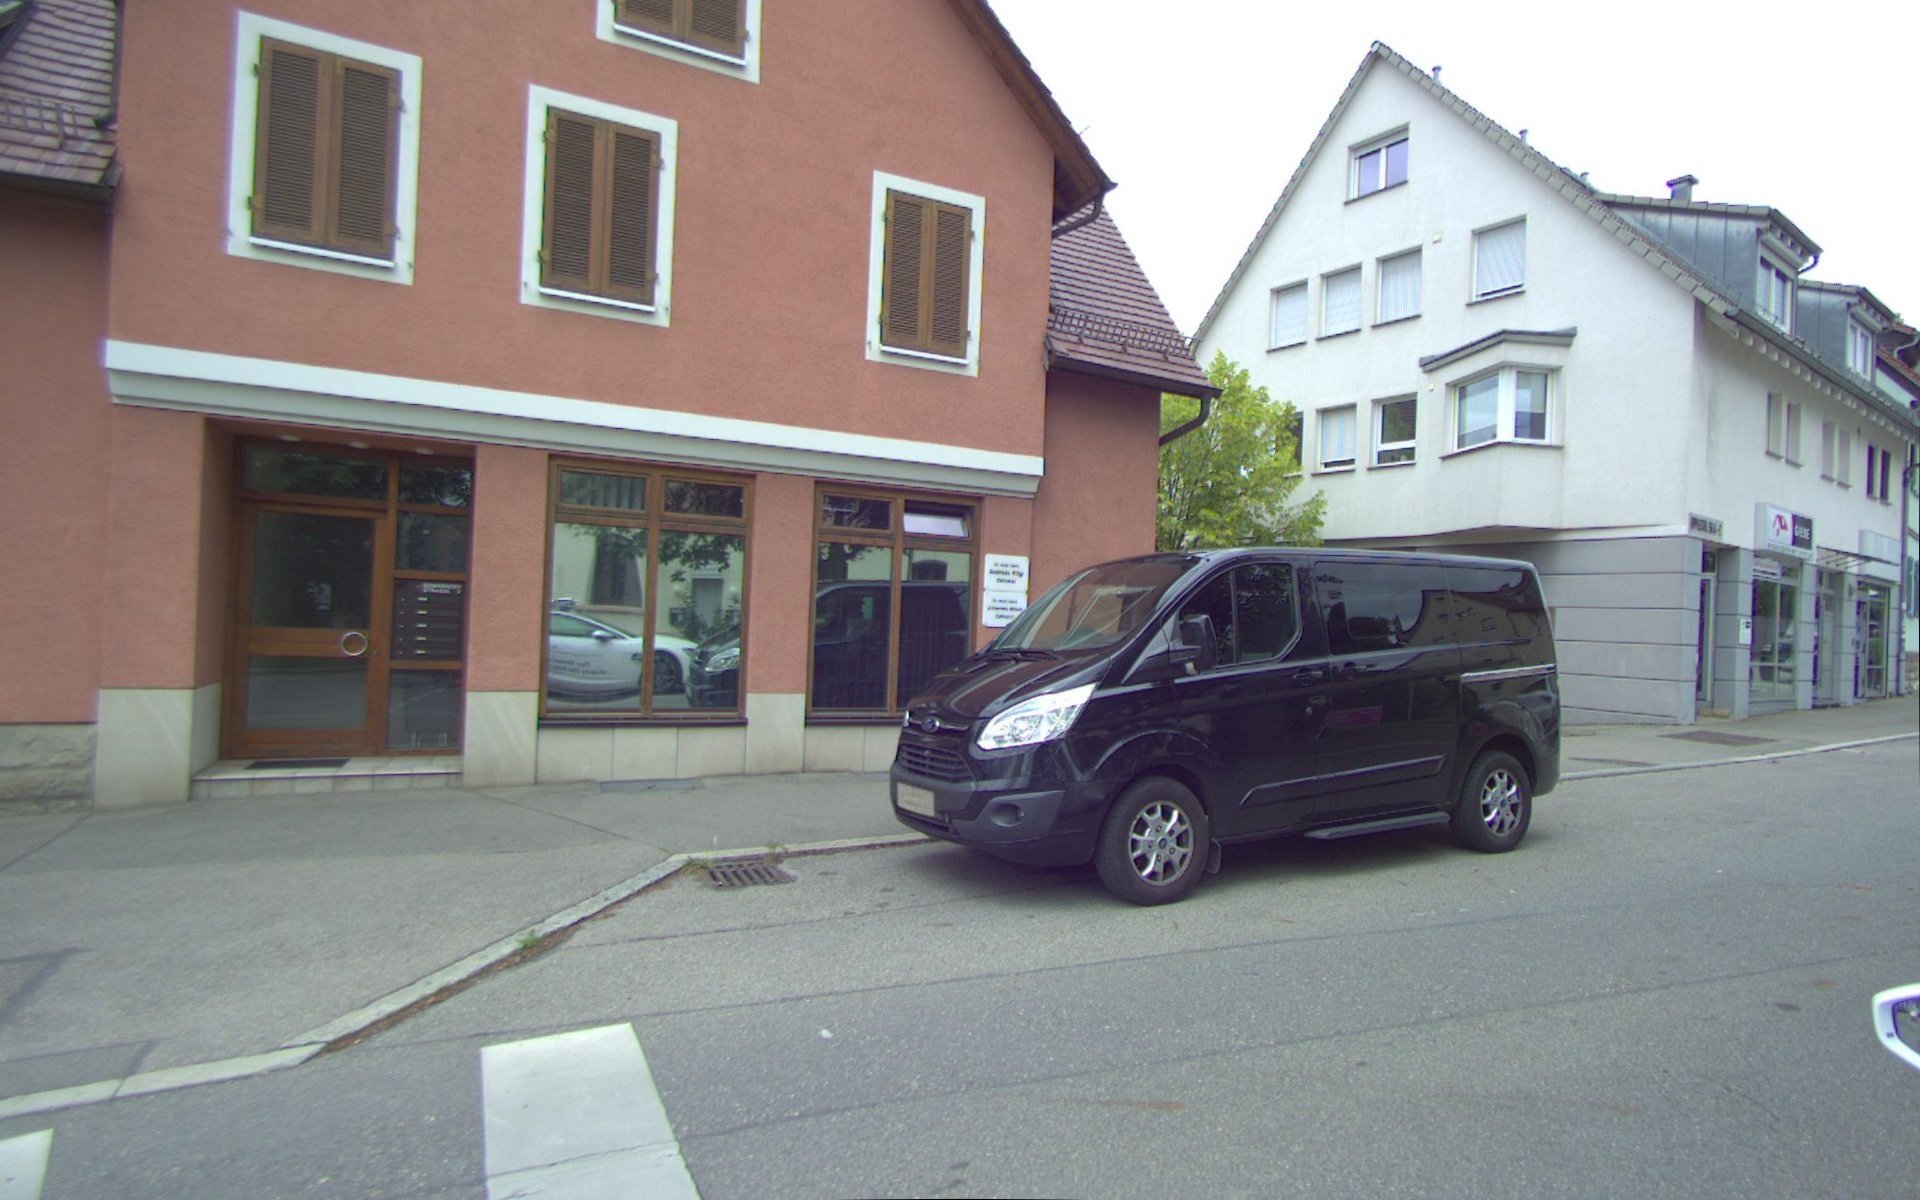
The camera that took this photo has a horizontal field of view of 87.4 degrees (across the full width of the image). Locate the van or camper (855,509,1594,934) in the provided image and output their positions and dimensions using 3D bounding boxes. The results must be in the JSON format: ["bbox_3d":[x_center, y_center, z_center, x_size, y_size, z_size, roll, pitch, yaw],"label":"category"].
[{"bbox_3d":[1.887,0.641,6.879,4.797,2.032,2.065,1,-2,-28],"label":"van or camper"}]

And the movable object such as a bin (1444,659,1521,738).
[{"bbox_3d":[7.429,1.385,14.284,0.786,1.032,0.662,0,0,-31],"label":"movable object such as a bin"}]

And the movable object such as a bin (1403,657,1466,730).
[{"bbox_3d":[6.955,1.359,14.734,0.627,0.984,0.531,0,2,-28],"label":"movable object such as a bin"}]
